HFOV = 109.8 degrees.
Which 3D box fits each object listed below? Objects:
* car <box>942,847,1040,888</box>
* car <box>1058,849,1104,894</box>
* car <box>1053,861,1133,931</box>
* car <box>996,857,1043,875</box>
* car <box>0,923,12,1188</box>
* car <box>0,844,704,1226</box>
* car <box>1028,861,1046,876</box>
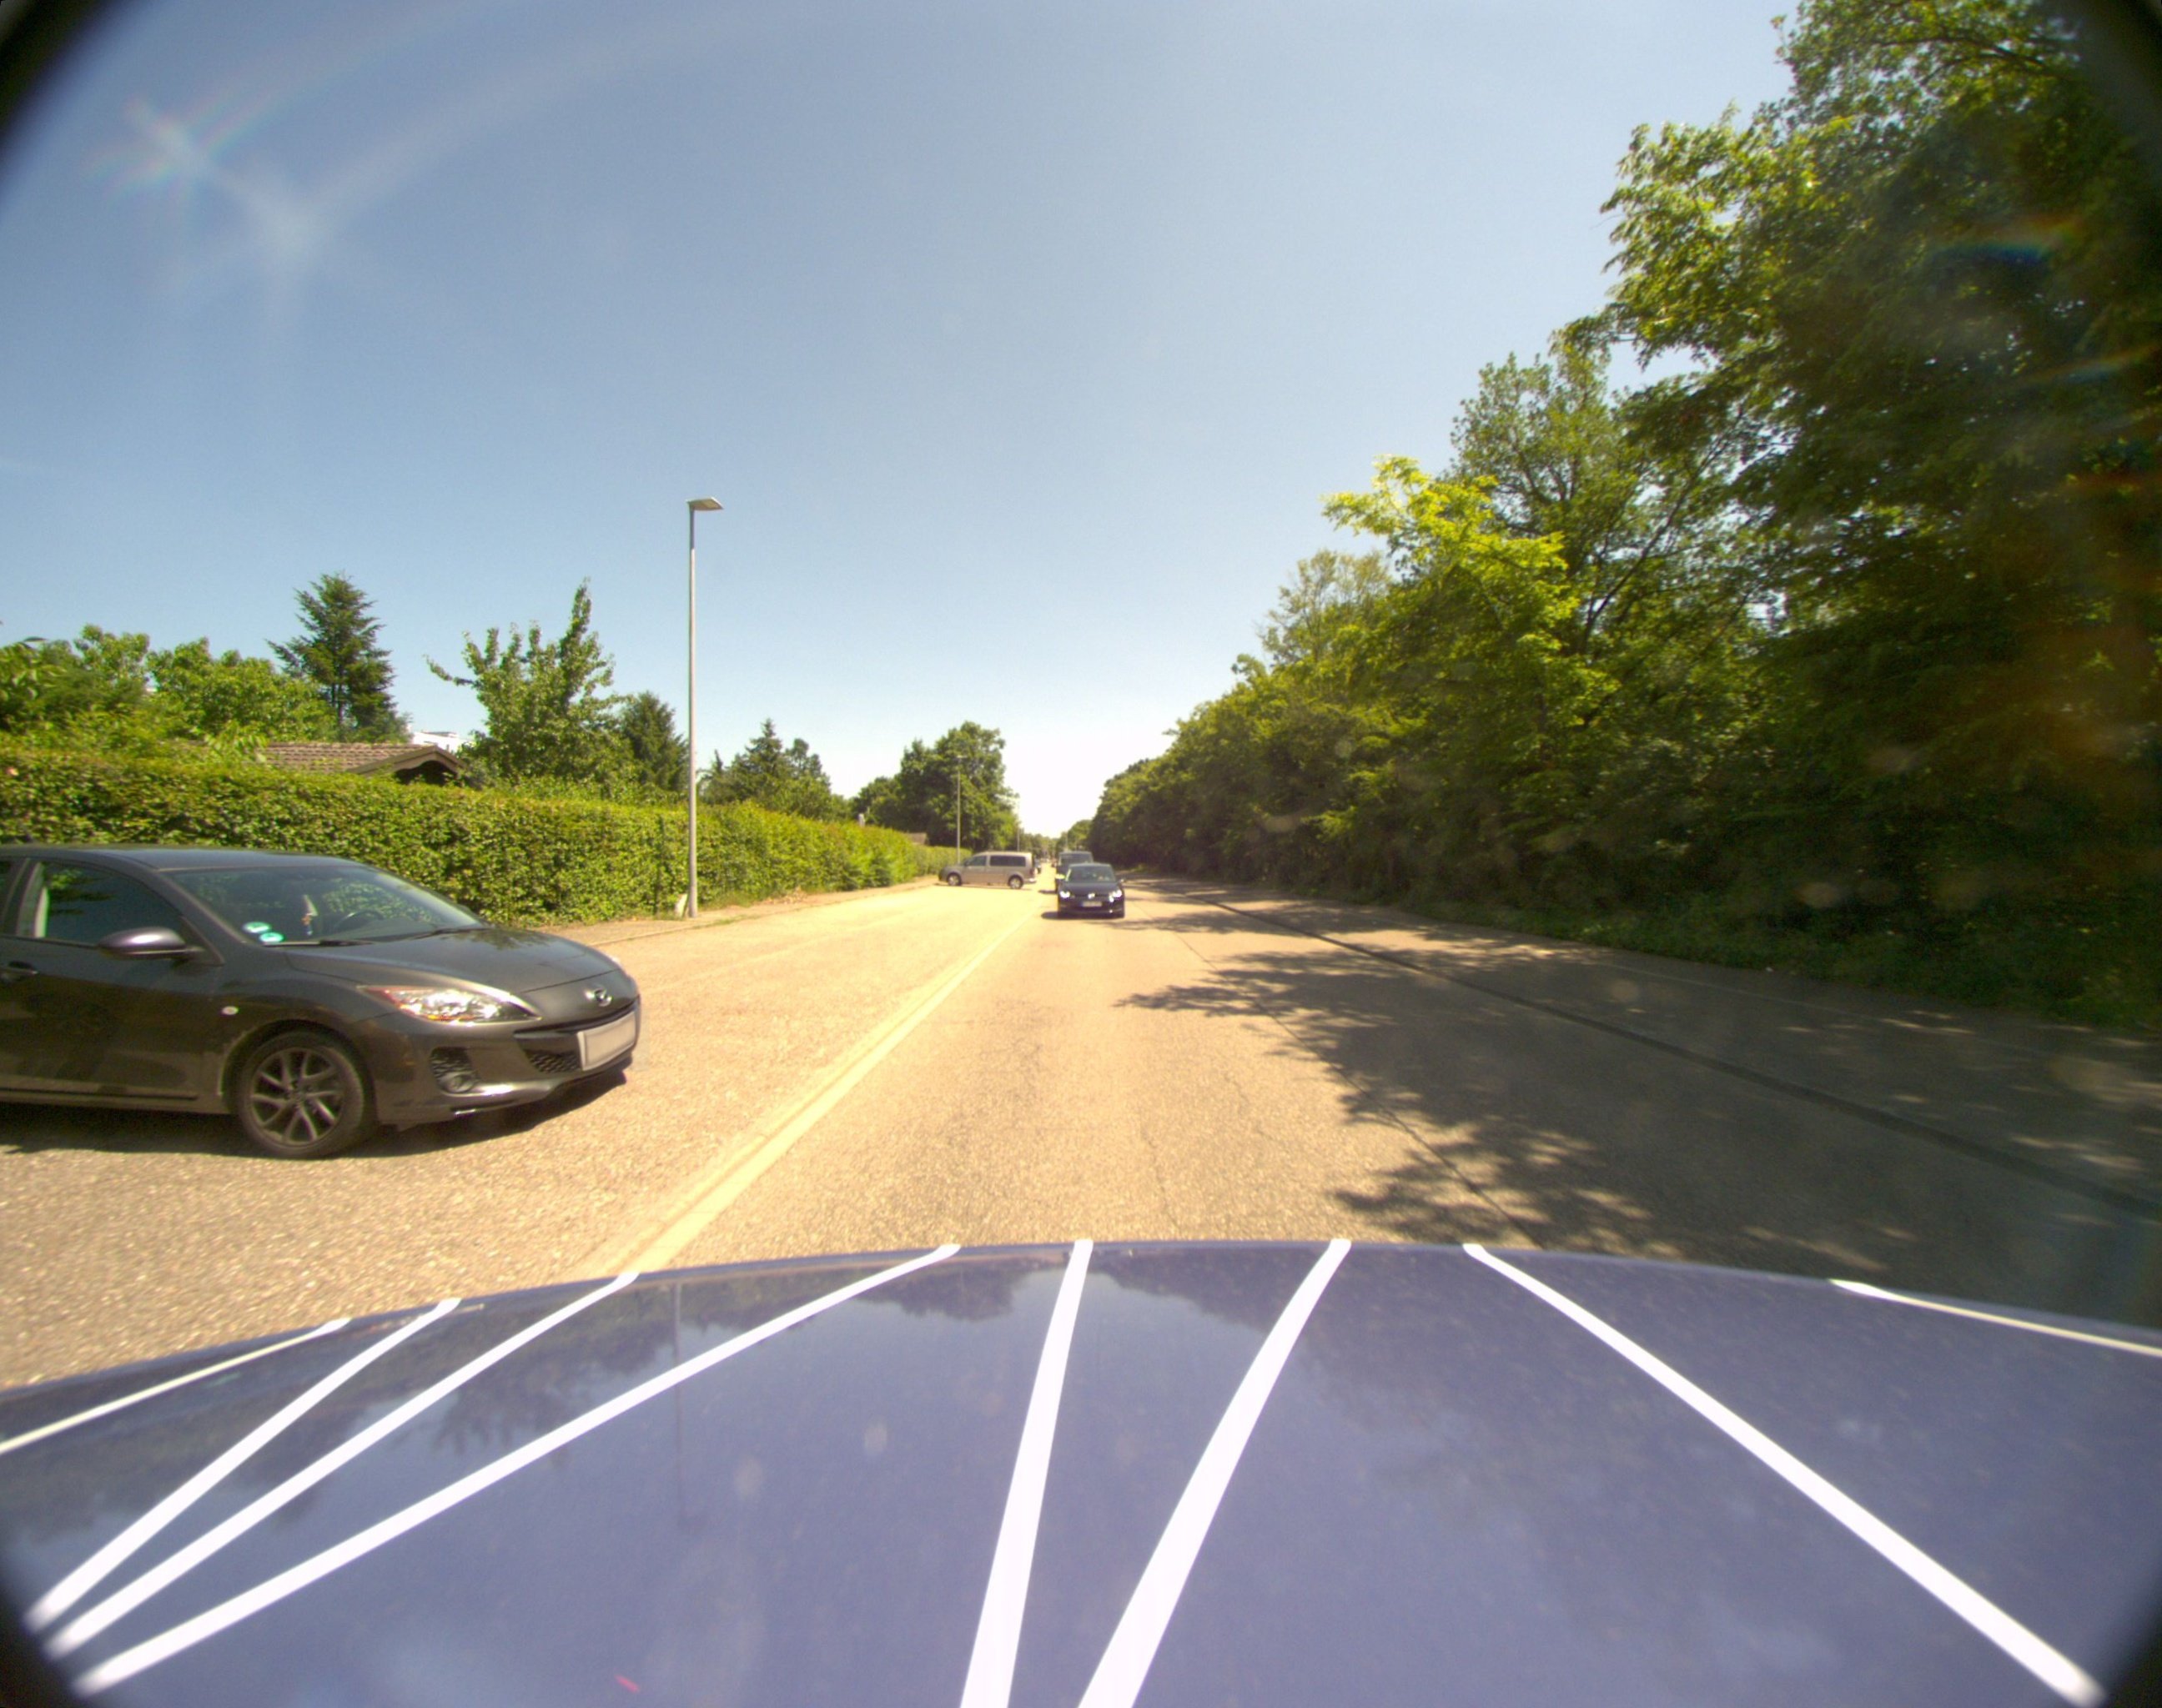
[{"bbox_3d":[-4.441,0.680,38.004,4.633,1.837,1.996,2,-1,-1],"label":"car"},{"bbox_3d":[-0.072,0.814,36.095,2.002,1.965,4.449,1,0,-2],"label":"car"},{"bbox_3d":[0.301,1.049,20.766,1.887,1.667,4.663,2,-1,0],"label":"car"},{"bbox_3d":[-5.376,1.069,66.469,4.008,1.444,1.831,2,0,-2],"label":"car"},{"bbox_3d":[-5.114,0.802,1.469,3.809,1.446,1.775,4,0,4],"label":"car"},{"bbox_3d":[-4.788,0.820,4.407,4.174,1.487,1.882,4,0,0],"label":"car"},{"bbox_3d":[-4.903,1.583,84.199,1.795,1.473,4.663,5,-1,-4],"label":"car"}]
